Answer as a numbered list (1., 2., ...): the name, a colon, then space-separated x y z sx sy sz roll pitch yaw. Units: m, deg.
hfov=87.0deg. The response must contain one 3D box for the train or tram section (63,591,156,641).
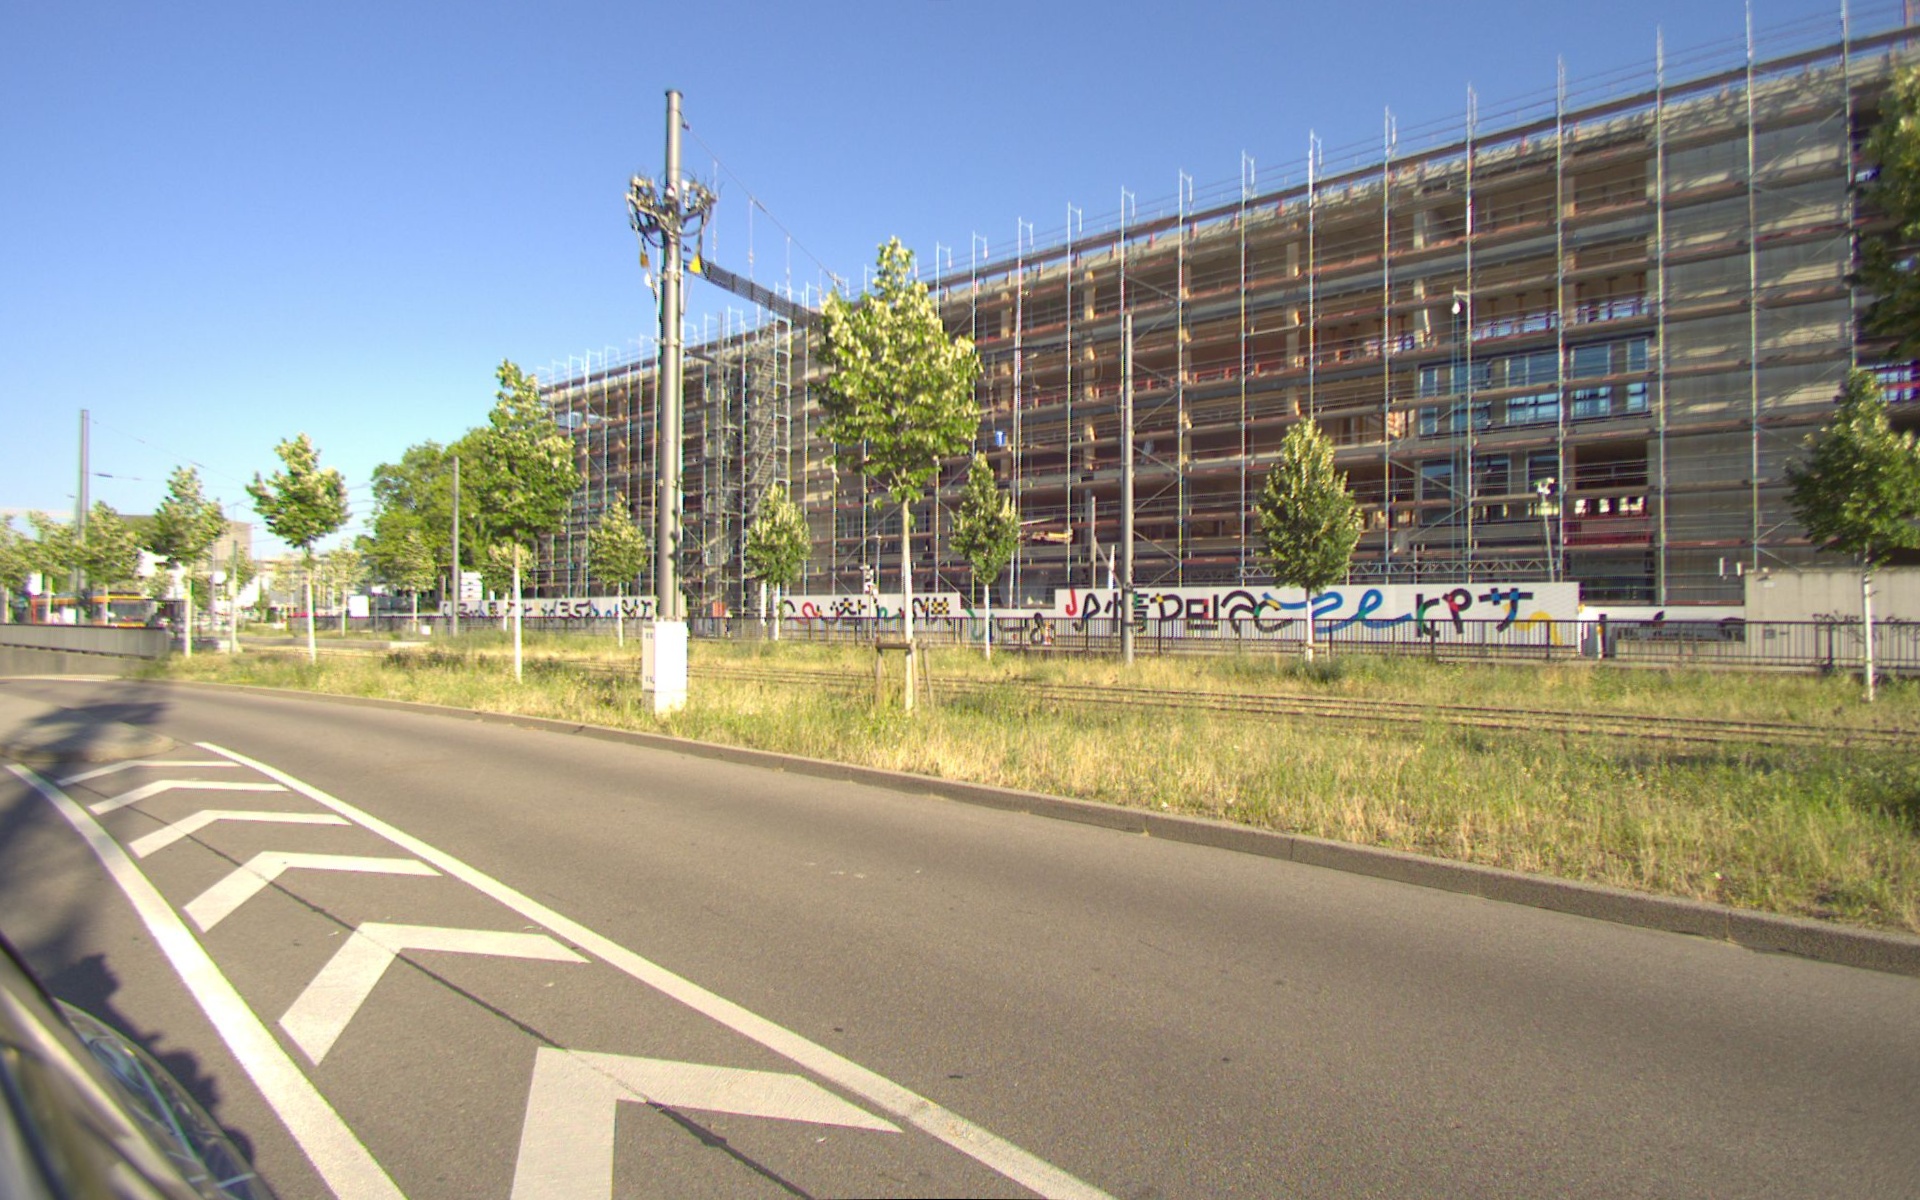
1. train or tram section: -62.686 1.121 74.434 12.619 3.423 2.917 -1 0 39

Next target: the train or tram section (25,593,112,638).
1. train or tram section: -73.288 1.267 83.034 14.749 3.423 2.917 -1 0 39
